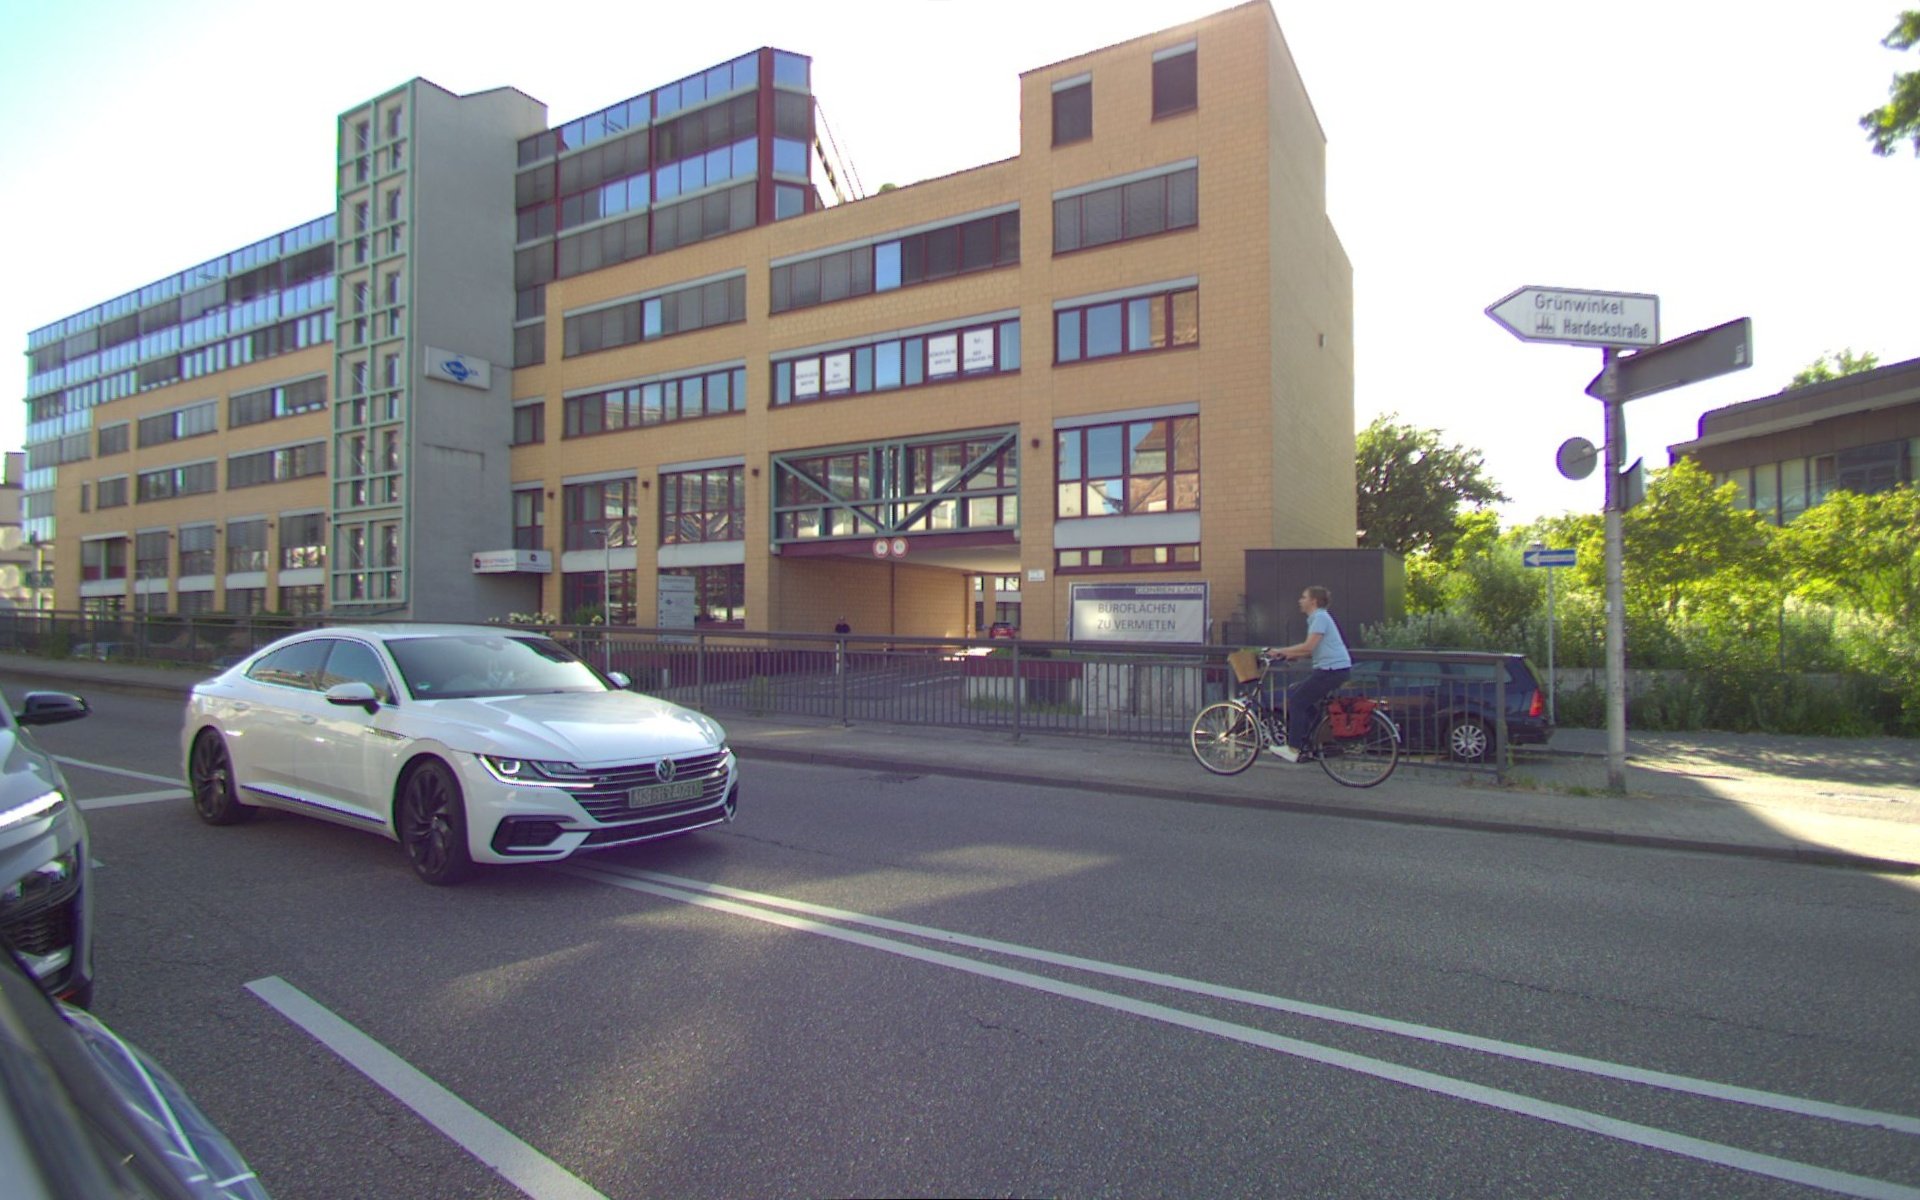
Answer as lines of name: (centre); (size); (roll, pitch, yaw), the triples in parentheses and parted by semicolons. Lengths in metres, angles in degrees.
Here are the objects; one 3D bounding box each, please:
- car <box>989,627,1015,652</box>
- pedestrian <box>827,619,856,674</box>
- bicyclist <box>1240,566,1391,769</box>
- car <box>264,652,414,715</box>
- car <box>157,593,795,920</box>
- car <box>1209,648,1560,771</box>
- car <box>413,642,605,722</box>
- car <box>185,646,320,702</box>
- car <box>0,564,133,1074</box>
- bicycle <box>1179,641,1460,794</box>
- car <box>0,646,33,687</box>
car: (2.766, 2.608, 66.727); (1.621, 1.586, 3.150); (-1, -2, 2)
pedestrian: (-4.084, 1.592, 34.838); (0.676, 1.858, 0.779); (-2, -3, 28)
bicyclist: (3.208, 0.579, 9.132); (1.192, 1.714, 0.682); (0, -2, 28)
car: (-17.727, 2.315, 28.861); (4.340, 1.616, 1.807); (-1, -3, 30)
car: (-3.417, 0.750, 6.850); (4.495, 1.547, 1.830); (1, 0, 33)
car: (6.071, 1.470, 14.690); (4.438, 1.515, 1.805); (-2, -3, 33)
car: (-11.140, 1.932, 24.939); (4.667, 1.771, 1.938); (-1, -1, 29)
car: (-22.148, 2.257, 31.643); (4.340, 1.616, 1.807); (-1, -3, 30)
car: (-4.949, 0.692, 4.094); (4.219, 1.582, 1.825); (-1, -1, 42)
bicycle: (3.201, 0.991, 9.122); (2.316, 1.211, 0.682); (0, -2, 29)
car: (-41.471, 2.792, 43.099); (3.988, 1.674, 1.977); (-1, -3, 33)
